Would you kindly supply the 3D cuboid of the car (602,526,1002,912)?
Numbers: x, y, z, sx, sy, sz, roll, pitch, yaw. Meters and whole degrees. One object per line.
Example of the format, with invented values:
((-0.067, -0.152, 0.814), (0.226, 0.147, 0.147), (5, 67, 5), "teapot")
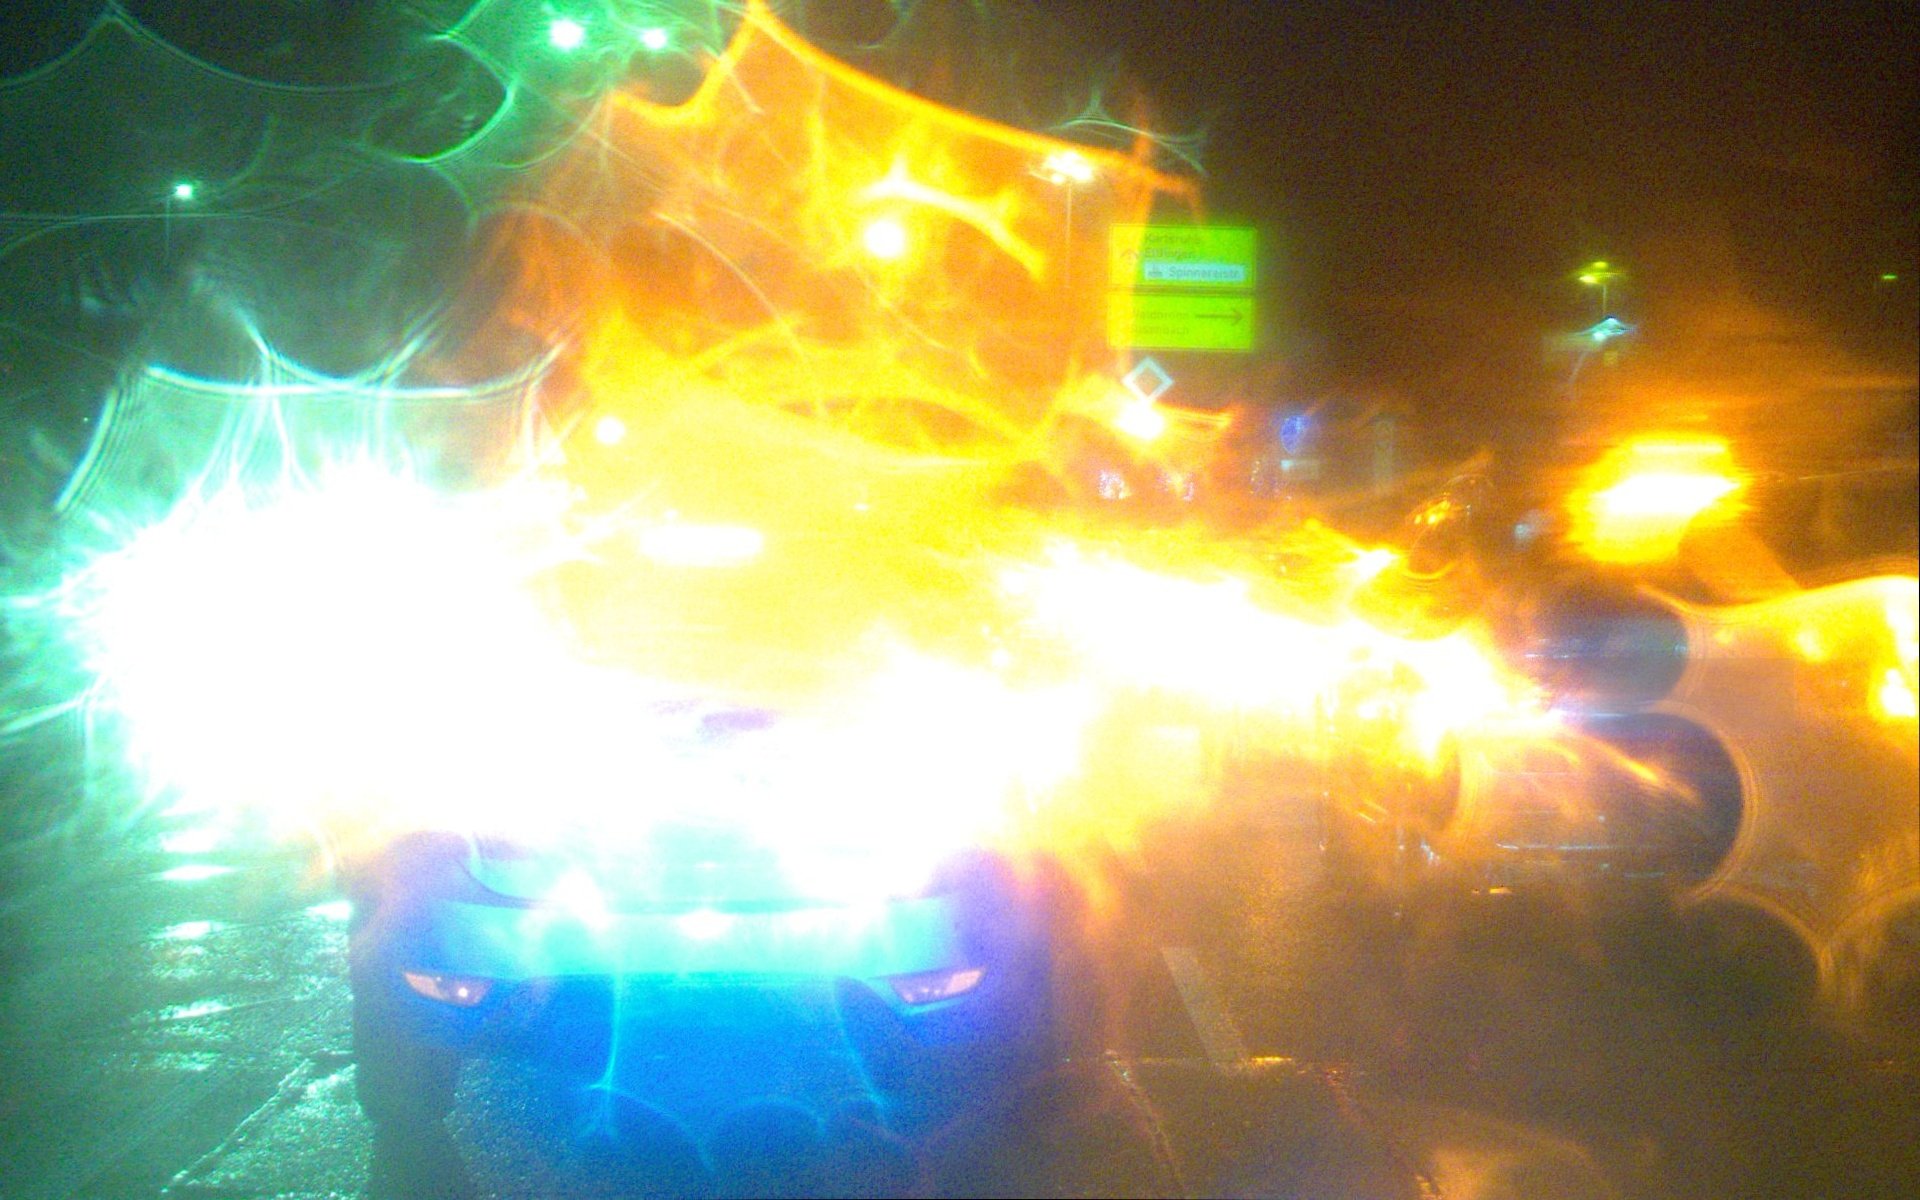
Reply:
((-0.692, 0.479, 16.842), (1.708, 1.632, 3.731), (-1, 1, 0), "car")

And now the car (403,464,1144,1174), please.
((-0.451, 0.484, 9.862), (1.694, 1.624, 3.853), (1, 1, -1), "car")

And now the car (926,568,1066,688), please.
((0.412, 0.321, 43.633), (1.663, 1.445, 4.050), (0, 0, -1), "car")

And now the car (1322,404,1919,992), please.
((2.506, 0.273, 13.653), (1.942, 1.965, 4.218), (0, 1, 4), "car")

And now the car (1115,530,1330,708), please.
((2.237, 0.134, 30.158), (1.663, 1.445, 4.050), (0, 1, 1), "car")

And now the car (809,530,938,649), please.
((-1.316, -0.189, 50.967), (1.708, 1.632, 3.731), (-1, 1, -4), "car")

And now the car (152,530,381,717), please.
((-7.473, 0.187, 37.457), (1.993, 1.905, 4.744), (0, 1, -6), "car")

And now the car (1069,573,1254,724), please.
((2.092, 0.470, 36.660), (1.663, 1.445, 4.050), (0, 1, -1), "car")

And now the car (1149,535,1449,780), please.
((2.164, 0.306, 22.875), (1.768, 1.445, 4.218), (0, 1, 3), "car")
